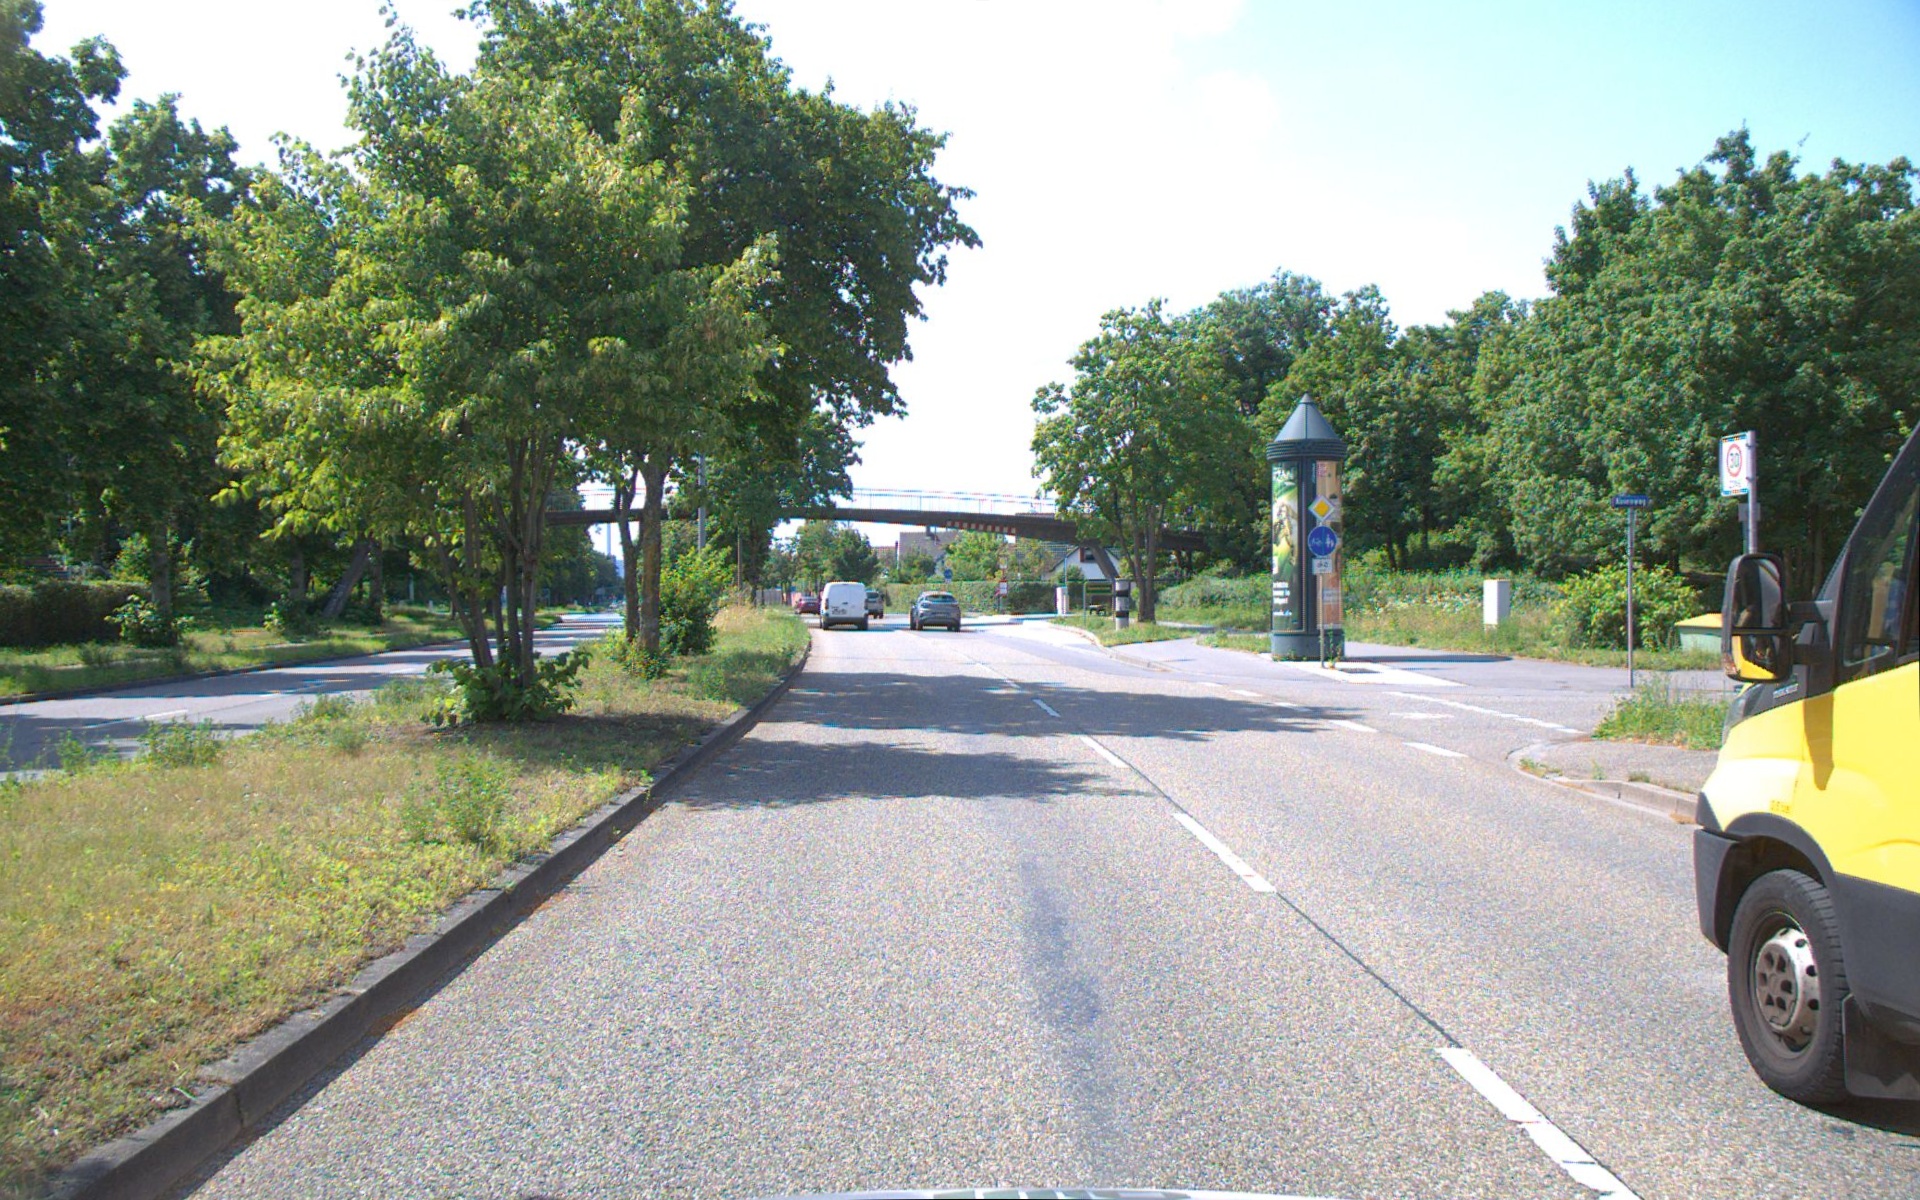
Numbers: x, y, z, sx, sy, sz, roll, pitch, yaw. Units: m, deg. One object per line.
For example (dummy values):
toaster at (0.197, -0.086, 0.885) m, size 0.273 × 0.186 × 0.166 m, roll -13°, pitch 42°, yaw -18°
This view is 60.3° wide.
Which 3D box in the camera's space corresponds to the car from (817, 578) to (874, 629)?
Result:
car at (-4.530, 0.128, 64.739) m, size 2.026 × 1.945 × 4.640 m, roll 0°, pitch 0°, yaw -6°

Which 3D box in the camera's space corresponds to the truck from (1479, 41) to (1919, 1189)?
truck at (3.595, 0.051, 3.402) m, size 2.219 × 2.931 × 8.024 m, roll 1°, pitch 0°, yaw -2°

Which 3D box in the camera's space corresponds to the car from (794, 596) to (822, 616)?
car at (-12.391, 0.497, 134.460) m, size 1.847 × 1.615 × 3.988 m, roll 0°, pitch 0°, yaw -12°

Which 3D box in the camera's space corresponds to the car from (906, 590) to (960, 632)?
car at (-1.113, 0.451, 66.489) m, size 1.839 × 1.617 × 4.179 m, roll 0°, pitch 0°, yaw -6°

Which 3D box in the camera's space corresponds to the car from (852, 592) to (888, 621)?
car at (-5.362, 0.370, 98.434) m, size 1.840 × 1.681 × 3.993 m, roll 0°, pitch 0°, yaw -7°
